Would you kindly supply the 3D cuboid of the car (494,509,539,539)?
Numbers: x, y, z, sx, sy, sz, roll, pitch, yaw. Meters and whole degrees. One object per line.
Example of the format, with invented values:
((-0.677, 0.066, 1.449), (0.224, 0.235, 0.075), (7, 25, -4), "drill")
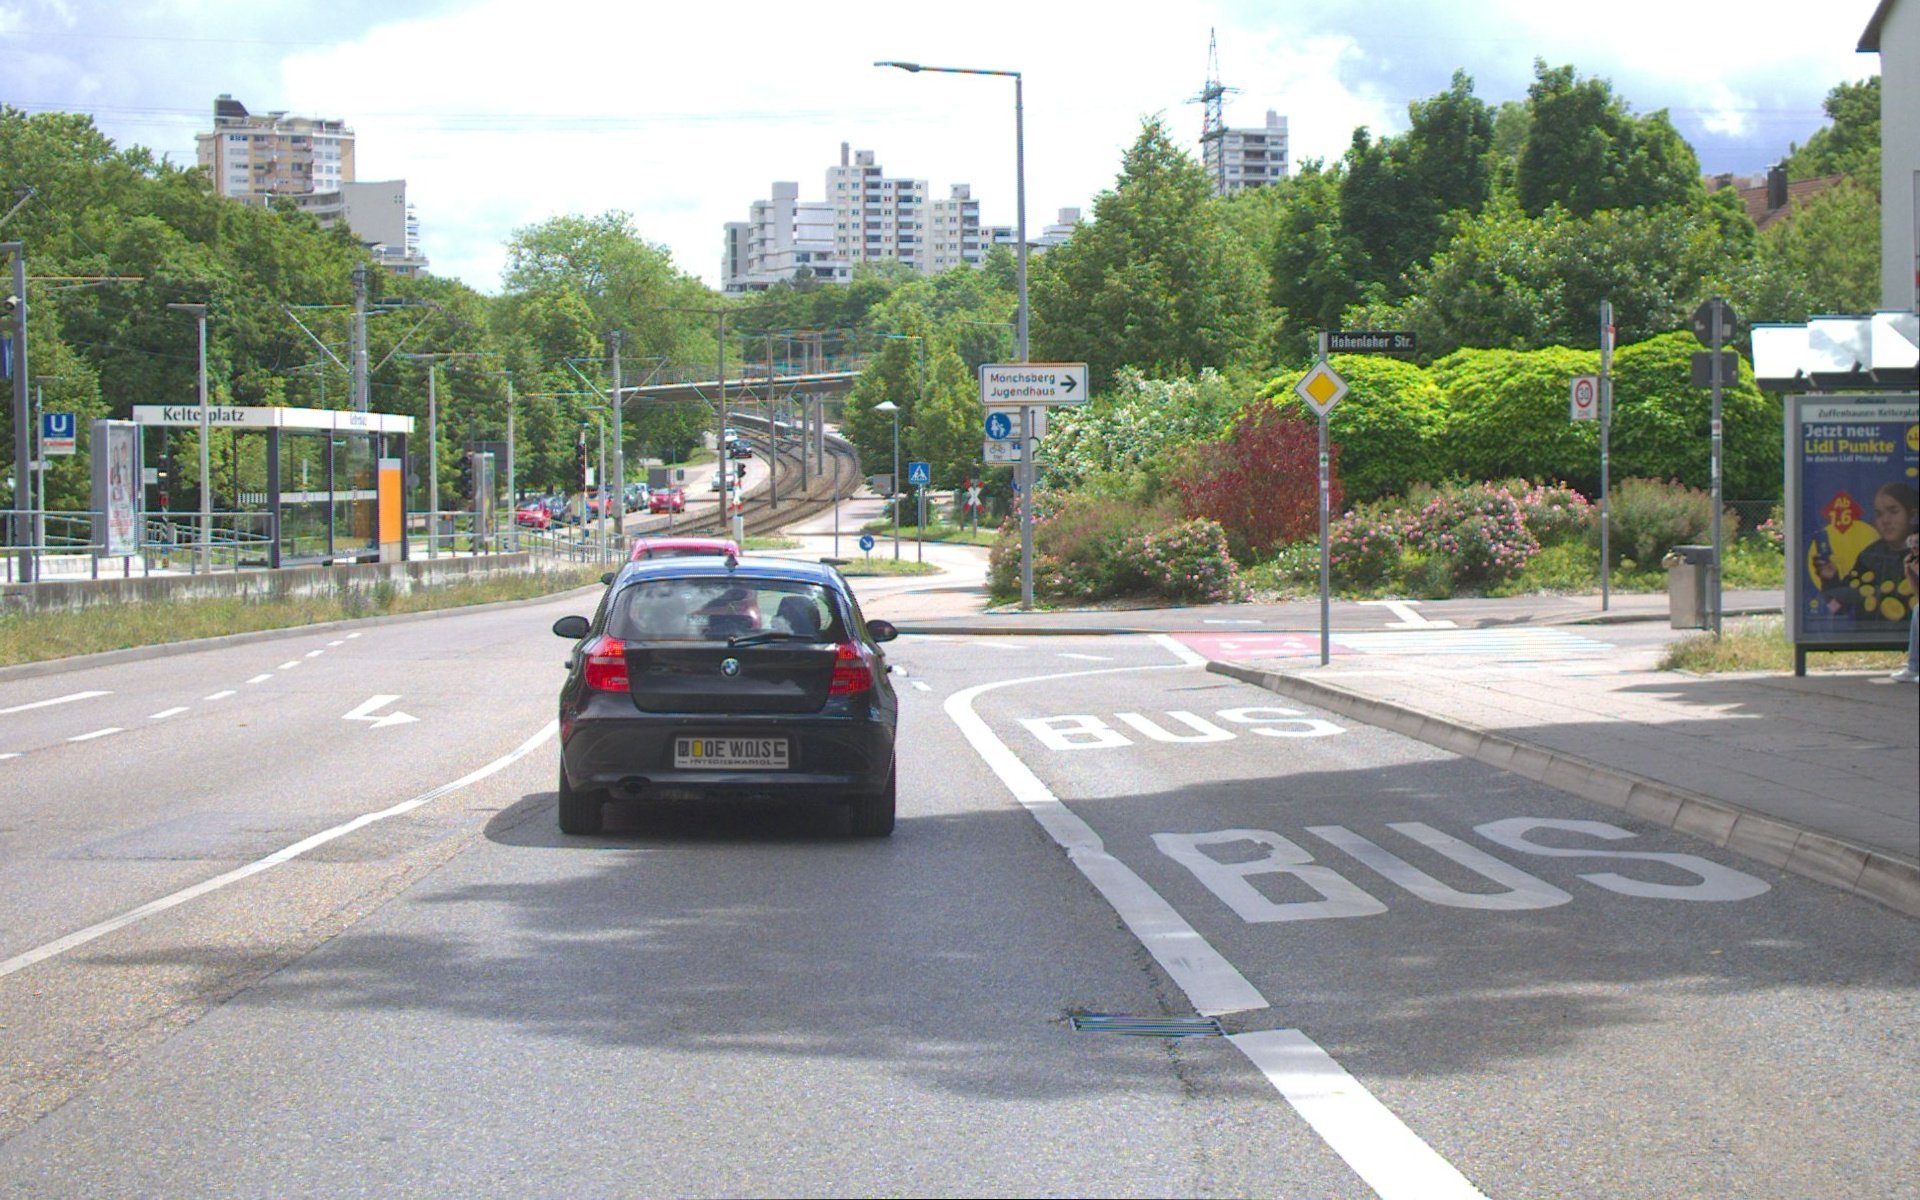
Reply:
((-20.922, -3.612, 162.211), (1.528, 1.366, 3.597), (0, 2, 2), "car")

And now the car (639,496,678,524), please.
((-16.515, -4.934, 188.471), (1.719, 1.497, 2.967), (0, 2, 3), "car")

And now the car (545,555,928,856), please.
((-1.163, 0.487, 18.572), (1.815, 1.416, 4.000), (-1, 1, -3), "car")

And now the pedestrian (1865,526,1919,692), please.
((7.423, 0.059, 26.366), (0.827, 1.254, 0.686), (-1, 1, 5), "pedestrian")

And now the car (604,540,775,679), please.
((-2.978, 0.066, 37.912), (1.765, 1.427, 3.479), (-1, 1, -4), "car")

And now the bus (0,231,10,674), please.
((-8.186, -0.812, 19.473), (2.726, 3.059, 8.964), (0, 3, 3), "bus")
